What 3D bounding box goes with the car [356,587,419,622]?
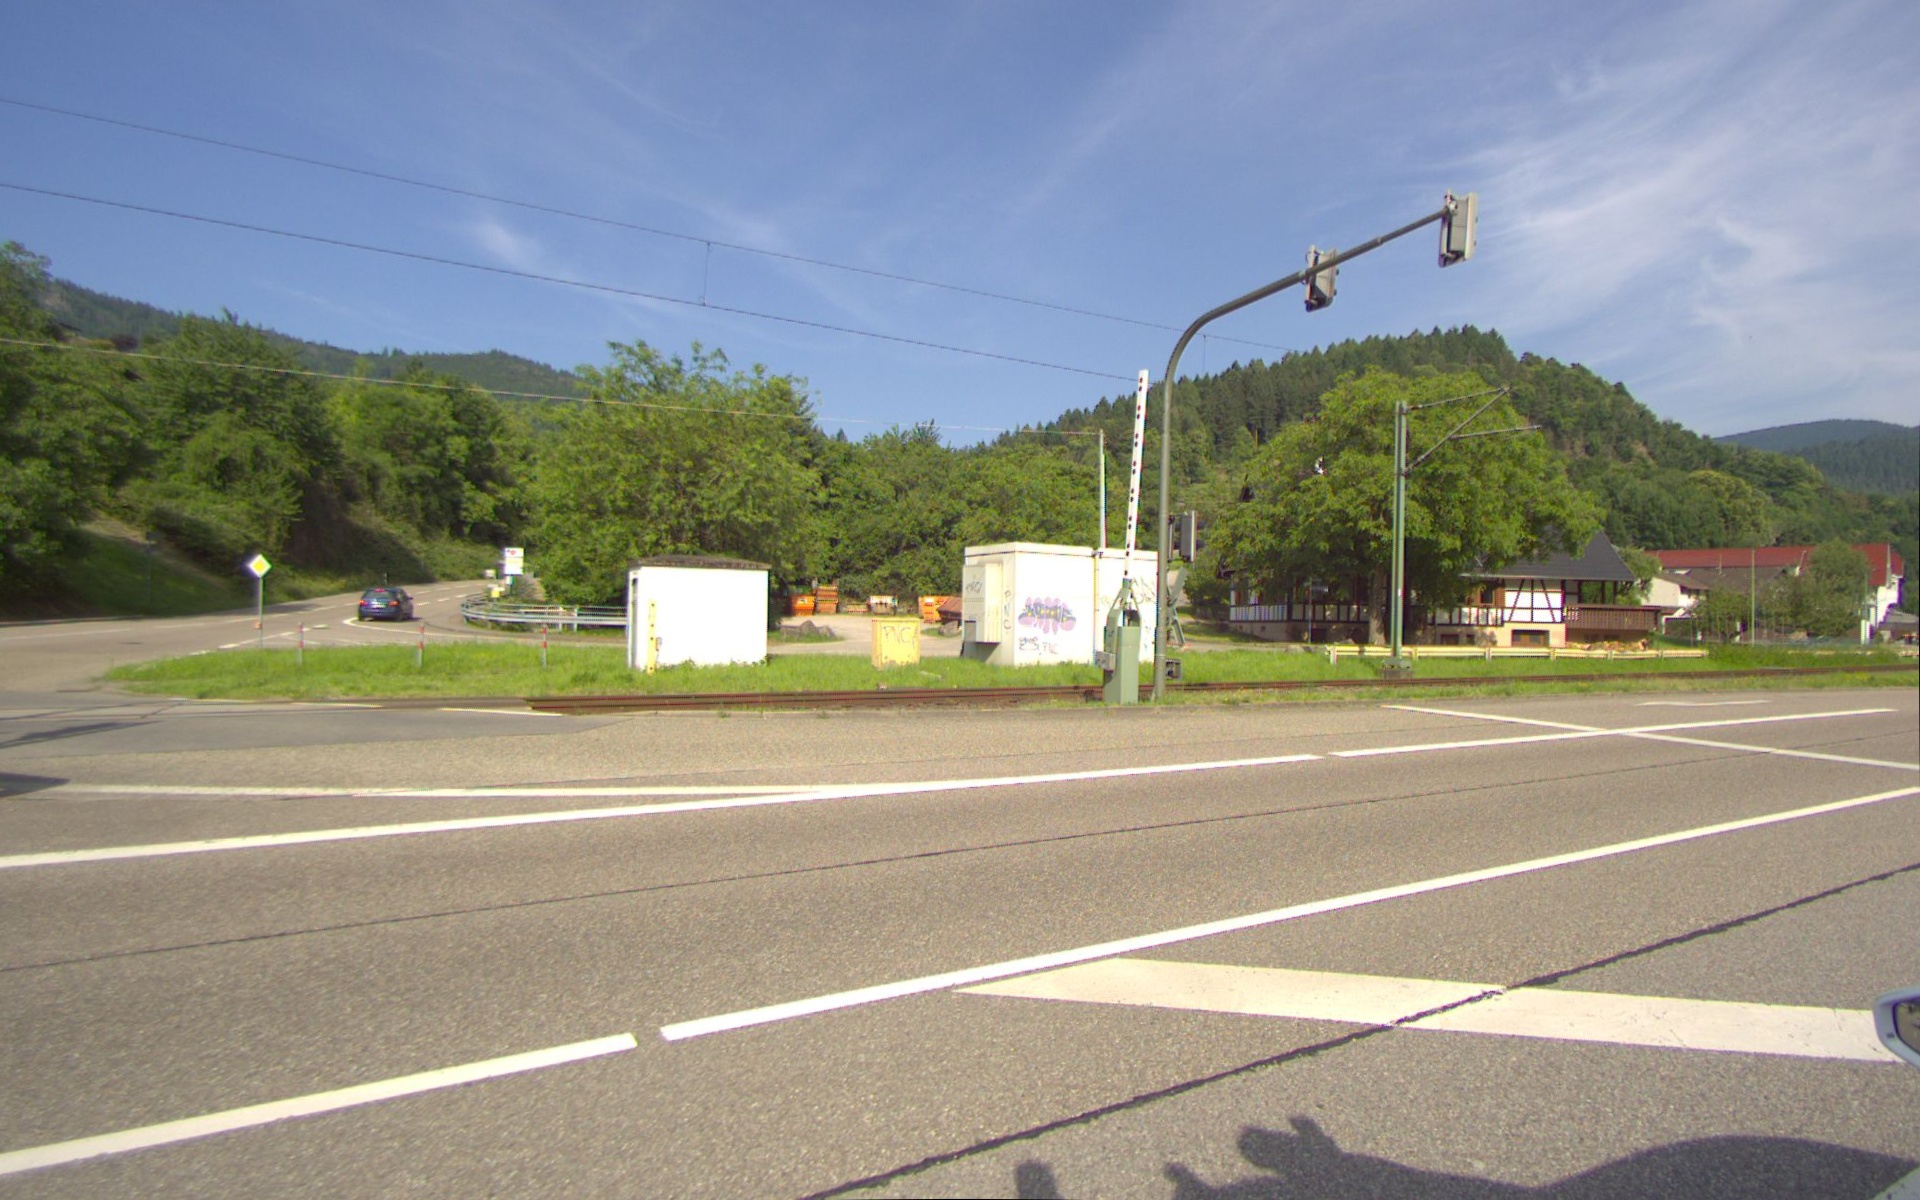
[{"bbox_3d":[-27.278,0.229,48.005,1.920,1.550,3.982,2,-1,-20],"label":"car"}]
